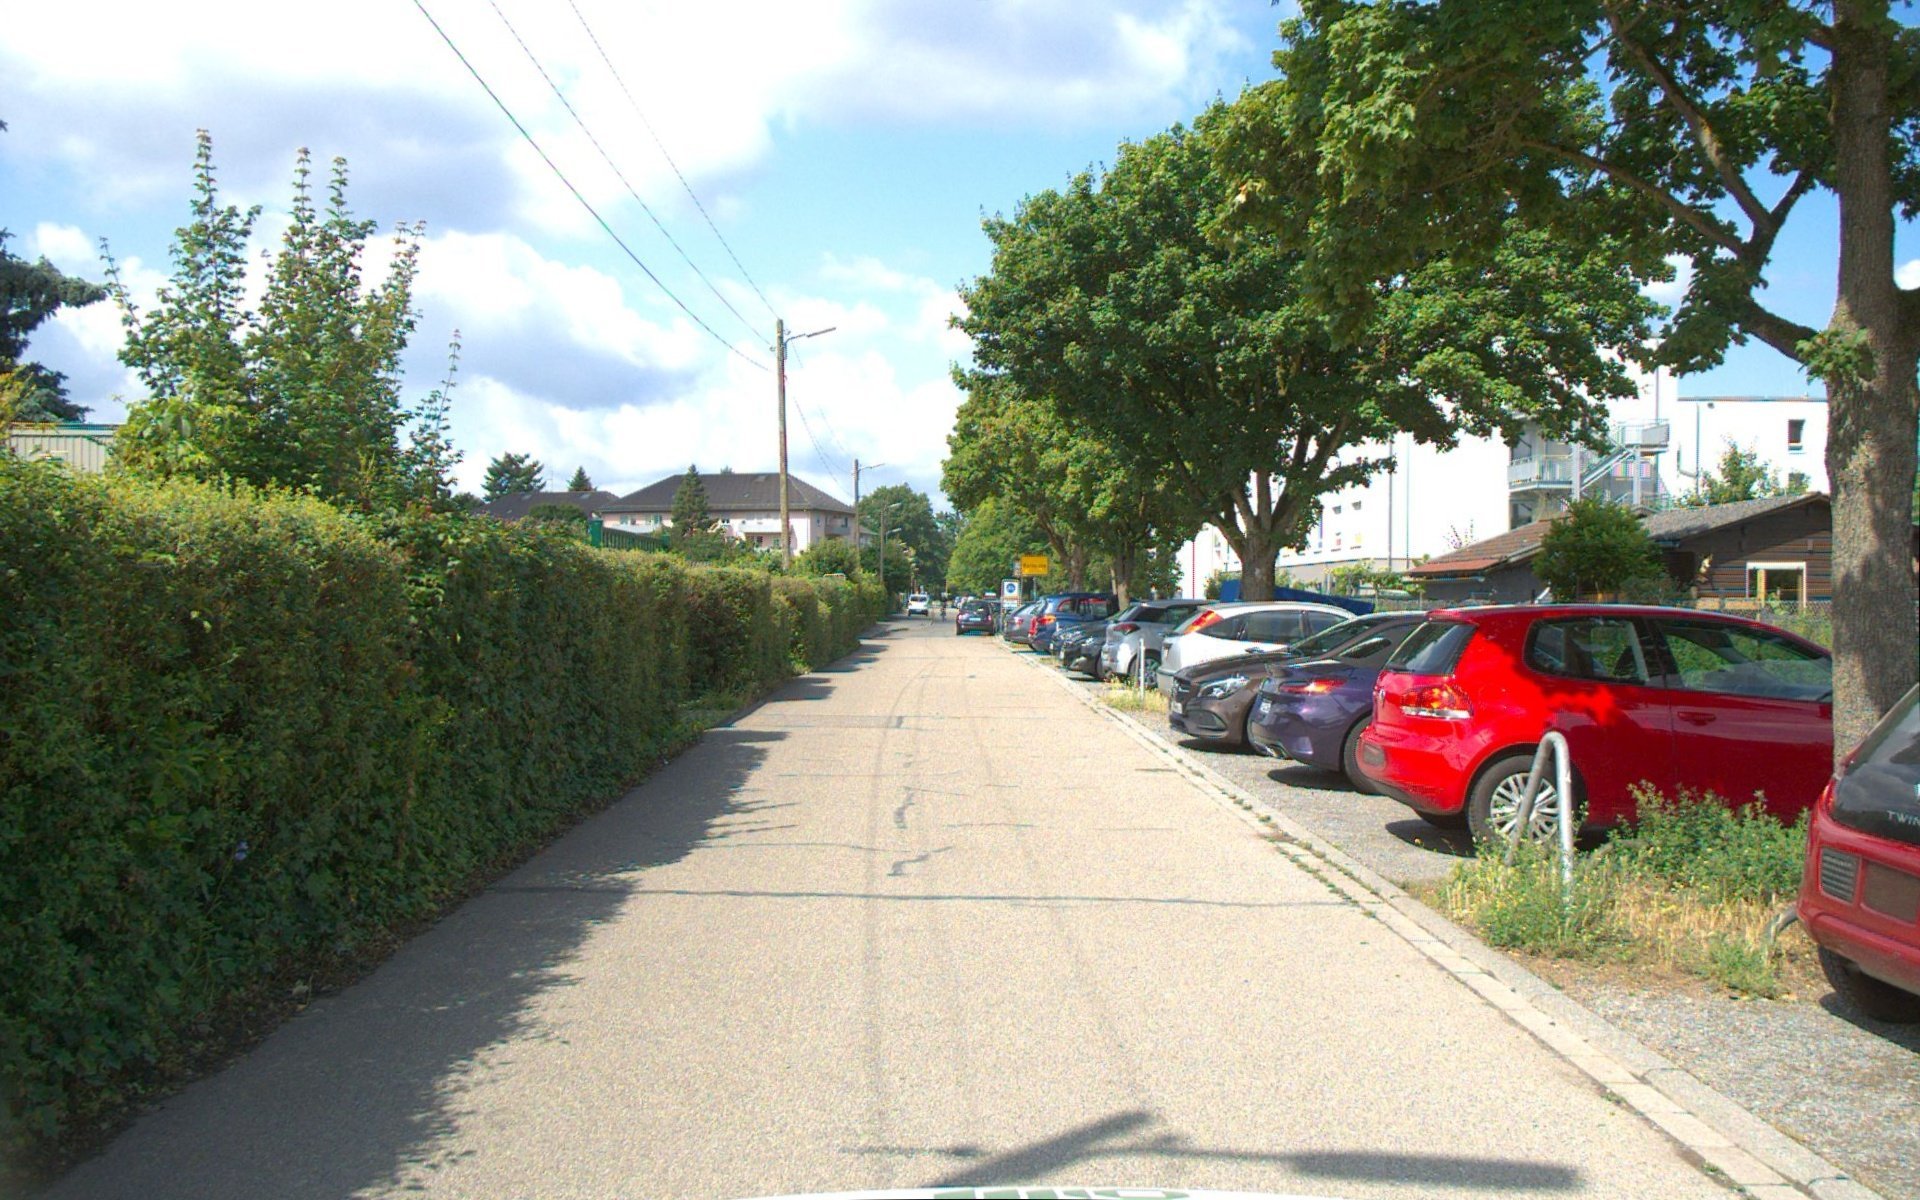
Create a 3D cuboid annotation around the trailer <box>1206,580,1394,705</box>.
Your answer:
[{"bbox_3d":[5.057,0.611,24.787,2.402,1.750,1.517,2,0,-5],"label":"trailer"}]

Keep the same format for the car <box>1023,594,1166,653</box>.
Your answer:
[{"bbox_3d":[3.625,0.631,45.062,3.732,1.559,1.761,0,-1,-1],"label":"car"}]

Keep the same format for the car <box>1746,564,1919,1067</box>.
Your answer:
[{"bbox_3d":[4.908,0.736,5.499,3.688,1.601,1.869,2,-1,-2],"label":"car"}]

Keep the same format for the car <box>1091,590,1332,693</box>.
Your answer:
[{"bbox_3d":[4.146,0.687,27.656,3.650,1.567,1.848,2,-1,-4],"label":"car"}]

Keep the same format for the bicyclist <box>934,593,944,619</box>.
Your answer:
[{"bbox_3d":[-1.483,0.433,117.827,0.645,1.884,1.043,-1,-1,1],"label":"bicyclist"}]

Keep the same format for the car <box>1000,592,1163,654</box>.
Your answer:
[{"bbox_3d":[3.442,0.649,47.467,4.457,1.606,1.808,2,-1,-2],"label":"car"}]

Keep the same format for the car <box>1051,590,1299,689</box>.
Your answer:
[{"bbox_3d":[3.853,0.706,30.232,4.215,1.622,1.999,2,-1,-2],"label":"car"}]

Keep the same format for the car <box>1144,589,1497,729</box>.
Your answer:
[{"bbox_3d":[4.378,0.705,20.578,3.980,1.538,1.958,2,-1,2],"label":"car"}]

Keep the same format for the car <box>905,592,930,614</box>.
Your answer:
[{"bbox_3d":[-3.632,0.279,140.603,1.863,1.846,4.001,2,0,2],"label":"car"}]

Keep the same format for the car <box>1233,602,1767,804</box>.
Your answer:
[{"bbox_3d":[4.343,0.803,13.803,3.829,1.448,1.958,2,-1,2],"label":"car"}]

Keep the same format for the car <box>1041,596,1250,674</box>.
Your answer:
[{"bbox_3d":[3.955,0.749,35.803,4.248,1.518,1.975,2,-1,-2],"label":"car"}]

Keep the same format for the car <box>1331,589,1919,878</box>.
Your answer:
[{"bbox_3d":[4.457,0.774,10.291,3.904,1.546,1.855,2,-1,2],"label":"car"}]

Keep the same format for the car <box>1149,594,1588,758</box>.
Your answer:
[{"bbox_3d":[4.088,0.749,16.965,3.985,1.481,1.868,2,-1,-3],"label":"car"}]

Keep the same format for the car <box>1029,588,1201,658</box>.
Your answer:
[{"bbox_3d":[3.788,0.557,40.880,4.070,1.666,1.878,0,-1,-1],"label":"car"}]

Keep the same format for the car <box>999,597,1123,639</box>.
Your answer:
[{"bbox_3d":[3.544,0.619,58.063,4.267,1.416,1.719,0,-1,3],"label":"car"}]

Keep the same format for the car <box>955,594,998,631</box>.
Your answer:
[{"bbox_3d":[0.737,0.543,72.147,1.628,1.532,4.002,2,0,4],"label":"car"}]
